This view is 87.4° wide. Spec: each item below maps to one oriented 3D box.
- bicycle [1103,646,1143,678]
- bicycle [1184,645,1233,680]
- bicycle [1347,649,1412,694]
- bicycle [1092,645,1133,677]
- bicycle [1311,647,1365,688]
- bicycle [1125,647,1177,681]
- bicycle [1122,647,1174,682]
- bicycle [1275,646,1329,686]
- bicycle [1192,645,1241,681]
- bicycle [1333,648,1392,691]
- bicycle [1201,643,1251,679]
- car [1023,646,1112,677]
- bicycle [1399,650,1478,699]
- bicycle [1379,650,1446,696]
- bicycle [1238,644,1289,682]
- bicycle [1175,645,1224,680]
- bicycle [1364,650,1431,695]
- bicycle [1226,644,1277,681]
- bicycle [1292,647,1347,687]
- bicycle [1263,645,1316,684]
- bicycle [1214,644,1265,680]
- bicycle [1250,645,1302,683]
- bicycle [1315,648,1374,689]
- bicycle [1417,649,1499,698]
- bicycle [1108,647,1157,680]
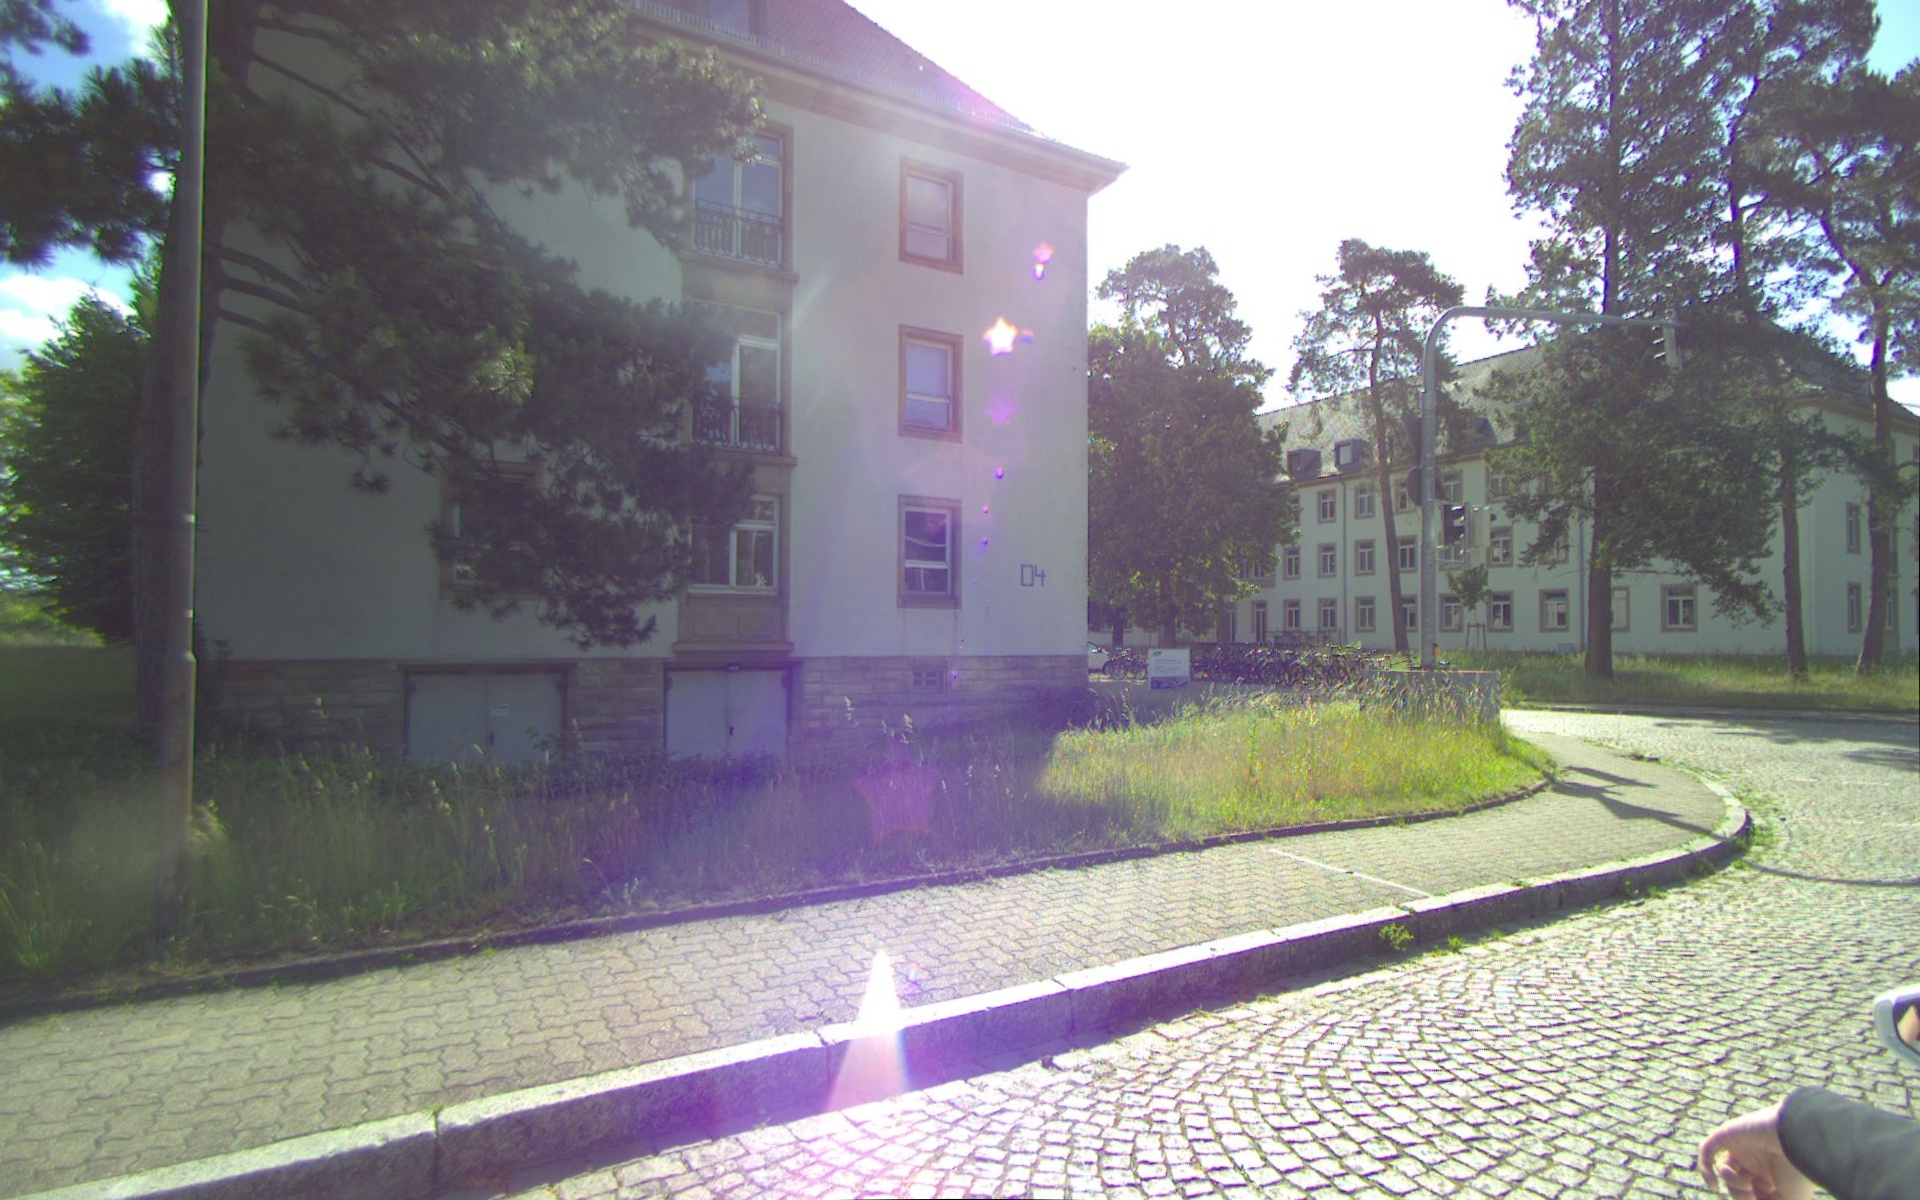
[{"bbox_3d":[6.390,2.411,39.409,1.815,1.236,0.509,2,-3,-42],"label":"bicycle"},{"bbox_3d":[8.890,2.232,35.965,1.915,1.236,0.511,1,-2,-31],"label":"bicycle"},{"bbox_3d":[12.156,2.049,29.098,2.080,1.236,0.630,1,-2,-31],"label":"bicycle"},{"bbox_3d":[6.073,2.417,39.925,1.813,1.236,0.510,2,-3,-39],"label":"bicycle"},{"bbox_3d":[11.859,2.094,31.463,1.878,1.236,0.545,1,-2,-31],"label":"bicycle"},{"bbox_3d":[7.028,2.336,36.919,1.794,1.236,0.515,-1,-2,24],"label":"bicycle"},{"bbox_3d":[6.799,2.327,36.312,1.794,1.236,0.515,-1,-2,24],"label":"bicycle"},{"bbox_3d":[11.008,2.100,32.300,1.954,1.236,0.511,1,-2,-31],"label":"bicycle"},{"bbox_3d":[9.105,2.228,35.594,1.915,1.236,0.511,1,-2,-31],"label":"bicycle"},{"bbox_3d":[12.054,2.067,30.037,1.967,1.236,0.569,1,-2,-31],"label":"bicycle"},{"bbox_3d":[9.334,2.130,35.194,1.915,1.236,0.511,1,-2,-31],"label":"bicycle"},{"bbox_3d":[4.567,2.584,42.542,3.550,1.227,1.504,1,-3,-29],"label":"car"},{"bbox_3d":[12.690,1.960,26.681,0.627,1.236,1.853,1,-2,-30],"label":"bicycle"},{"bbox_3d":[12.702,2.036,28.159,2.090,1.236,0.630,1,-2,-31],"label":"bicycle"},{"bbox_3d":[10.185,2.110,33.667,1.915,1.236,0.511,1,-2,-31],"label":"bicycle"},{"bbox_3d":[8.672,2.238,36.356,1.915,1.236,0.511,1,-2,-31],"label":"bicycle"},{"bbox_3d":[12.453,2.042,28.573,2.100,1.236,0.630,1,-2,-31],"label":"bicycle"},{"bbox_3d":[9.930,2.117,34.151,1.915,1.236,0.511,1,-2,-31],"label":"bicycle"},{"bbox_3d":[11.371,2.094,31.764,1.993,1.236,0.511,1,-2,-31],"label":"bicycle"},{"bbox_3d":[10.744,2.102,32.745,1.954,1.236,0.511,1,-2,-31],"label":"bicycle"},{"bbox_3d":[9.649,2.123,34.673,1.915,1.236,0.511,1,-2,-31],"label":"bicycle"},{"bbox_3d":[10.453,2.104,33.182,1.932,1.236,0.511,1,-2,-31],"label":"bicycle"},{"bbox_3d":[11.790,2.080,30.750,2.006,1.236,0.576,1,-2,-31],"label":"bicycle"},{"bbox_3d":[13.344,1.954,26.960,0.627,1.236,1.935,1,-2,-30],"label":"bicycle"},{"bbox_3d":[6.519,2.390,37.909,1.792,1.236,0.516,0,-2,6],"label":"bicycle"}]
